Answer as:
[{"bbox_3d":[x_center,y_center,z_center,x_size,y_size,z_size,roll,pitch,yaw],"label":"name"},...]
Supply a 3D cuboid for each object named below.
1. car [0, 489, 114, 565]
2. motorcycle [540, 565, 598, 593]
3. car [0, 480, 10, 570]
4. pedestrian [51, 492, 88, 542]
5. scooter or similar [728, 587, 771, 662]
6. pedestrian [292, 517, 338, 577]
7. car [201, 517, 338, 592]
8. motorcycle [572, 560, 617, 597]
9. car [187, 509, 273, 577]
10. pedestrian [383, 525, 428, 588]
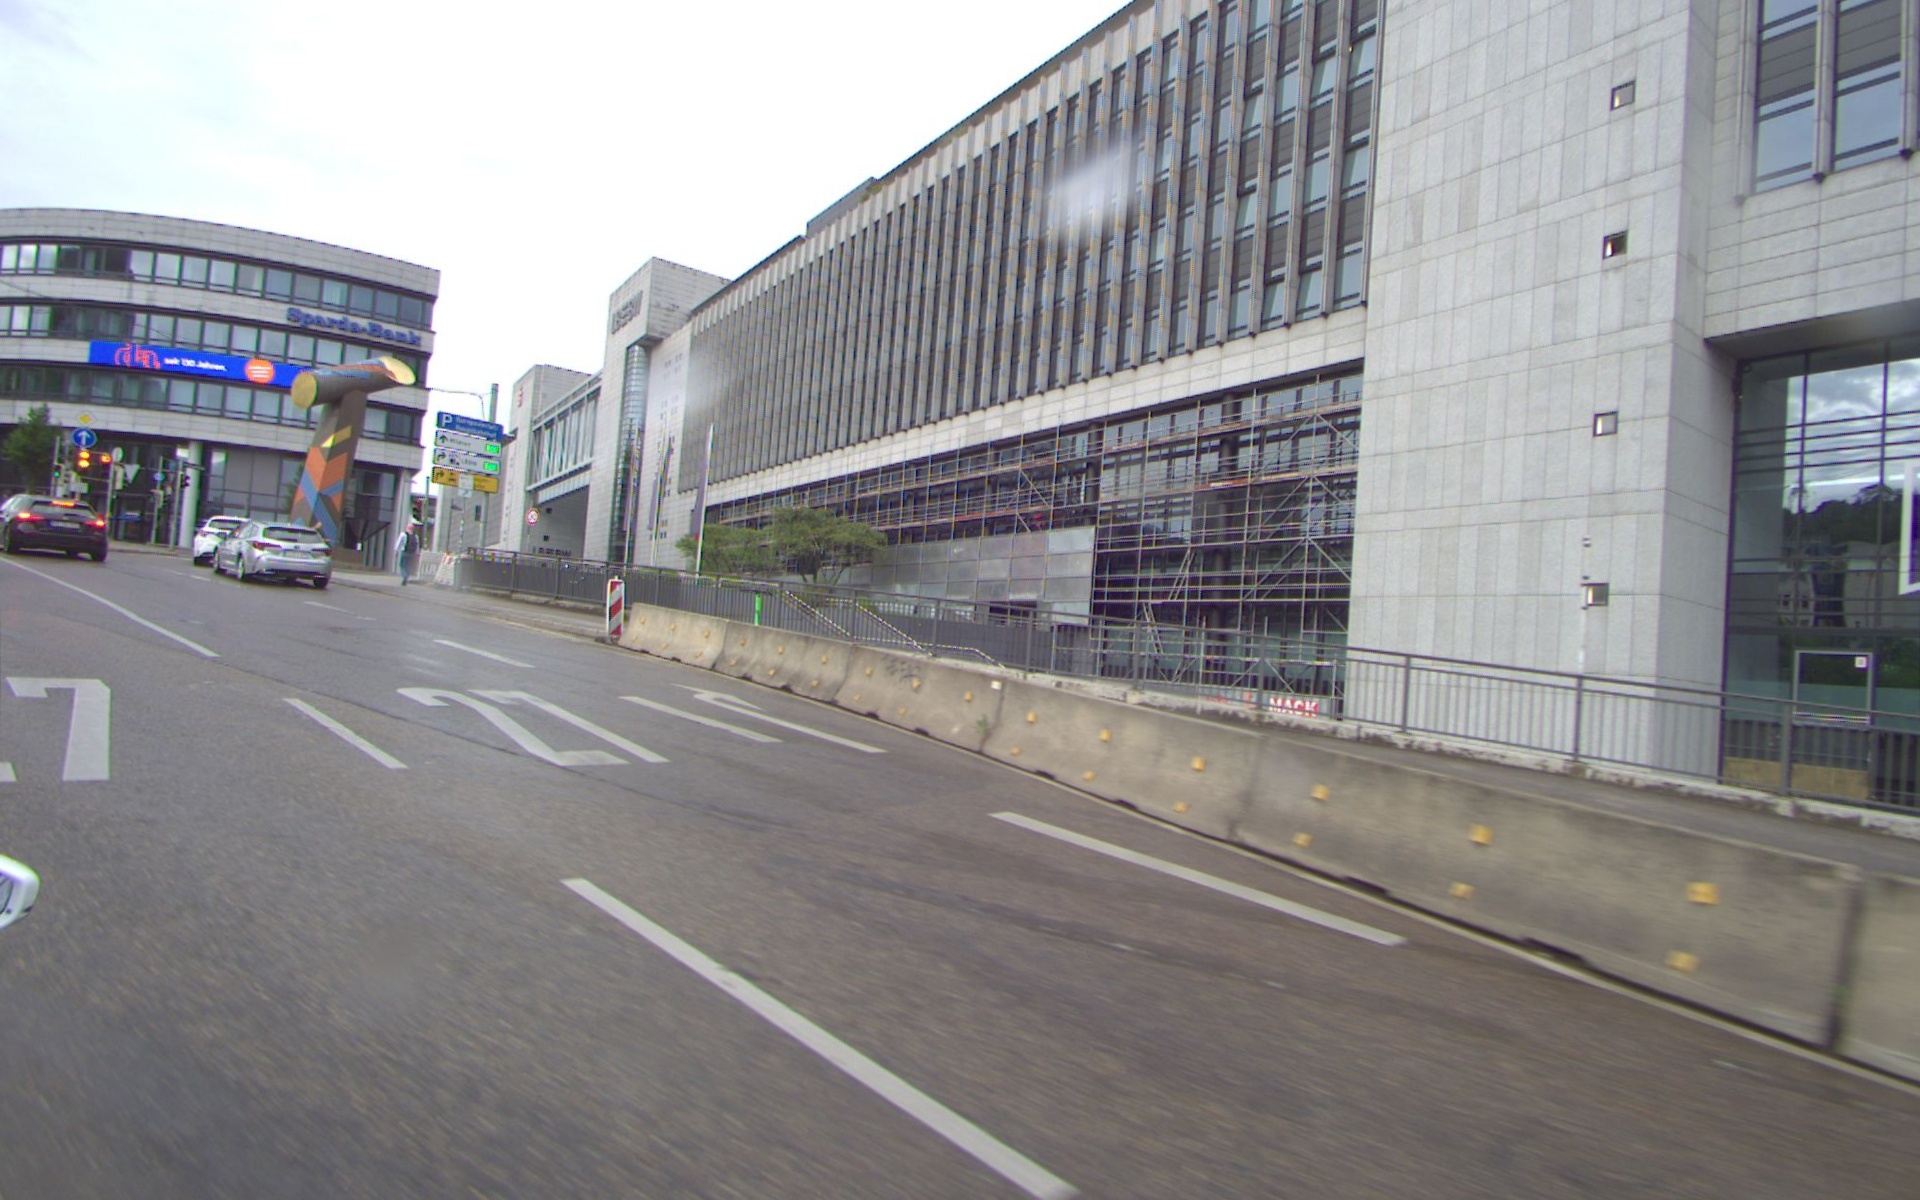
[{"bbox_3d":[-22.014,-1.754,24.235,4.169,1.423,1.754,4,-4,41],"label":"car"},{"bbox_3d":[-17.334,-0.935,44.694,0.624,1.095,2.566,7,2,28],"label":"motorcycle"},{"bbox_3d":[-17.463,-1.370,16.735,4.160,1.567,1.961,6,-1,42],"label":"car"},{"bbox_3d":[-37.380,-3.487,42.240,0.833,1.927,0.855,6,-2,-29],"label":"pedestrian"},{"bbox_3d":[-3.463,0.392,16.540,0.347,1.176,0.567,6,-1,-40],"label":"scooter or similar"},{"bbox_3d":[-24.642,-2.019,38.437,0.887,2.122,0.856,7,-2,12],"label":"pedestrian"},{"bbox_3d":[-16.872,-1.136,24.482,4.555,1.468,1.698,4,-3,43],"label":"car"},{"bbox_3d":[-15.479,-0.886,42.614,0.596,1.371,1.727,7,0,28],"label":"motorcycle"},{"bbox_3d":[-21.477,-1.679,29.731,1.761,1.654,4.539,7,-1,-34],"label":"car"},{"bbox_3d":[-16.409,-1.284,29.750,0.830,1.731,0.730,4,-2,34],"label":"pedestrian"}]
